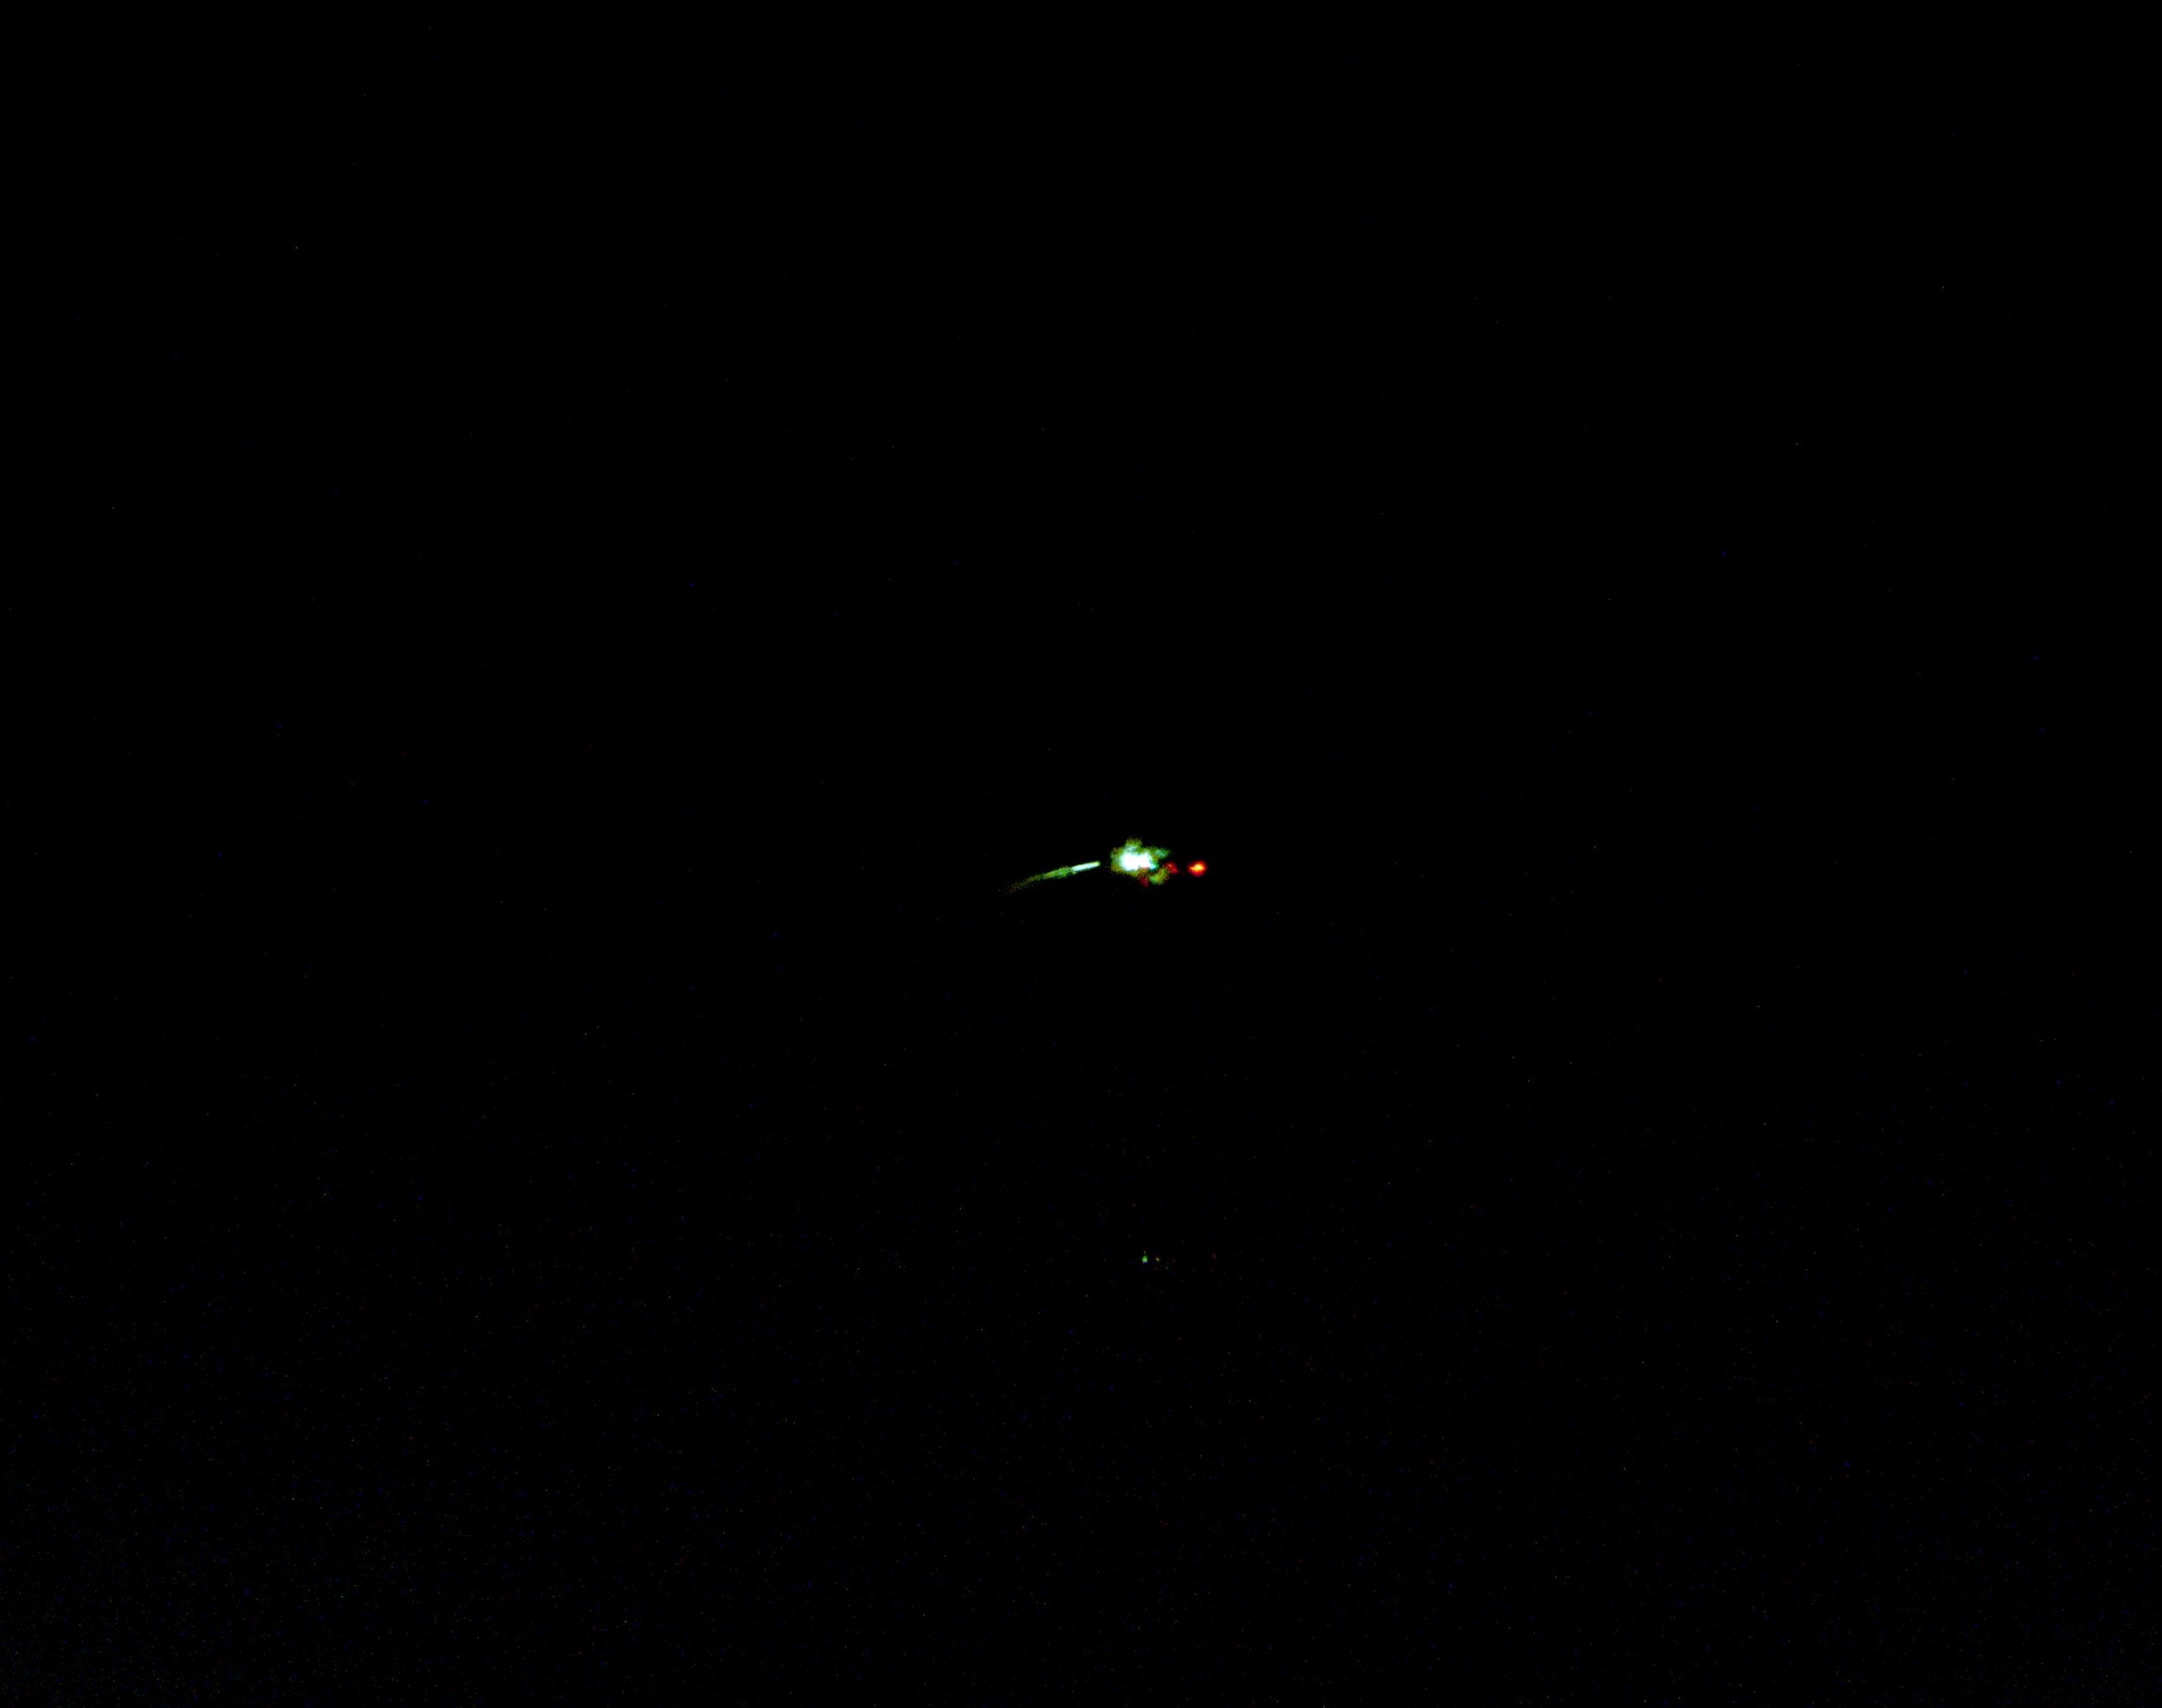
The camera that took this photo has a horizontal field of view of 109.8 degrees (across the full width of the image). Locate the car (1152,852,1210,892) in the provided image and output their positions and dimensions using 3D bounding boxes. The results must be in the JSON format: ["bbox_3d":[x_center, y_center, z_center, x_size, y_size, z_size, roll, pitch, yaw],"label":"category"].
[{"bbox_3d":[4.004,0.688,31.025,1.837,1.474,4.069,-2,0,1],"label":"car"}]

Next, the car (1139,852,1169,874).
[{"bbox_3d":[5.198,0.598,54.671,1.837,1.474,4.353,-2,0,2],"label":"car"}]

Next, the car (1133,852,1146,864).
[{"bbox_3d":[8.531,0.569,110.774,1.746,1.623,3.736,-2,0,2],"label":"car"}]
